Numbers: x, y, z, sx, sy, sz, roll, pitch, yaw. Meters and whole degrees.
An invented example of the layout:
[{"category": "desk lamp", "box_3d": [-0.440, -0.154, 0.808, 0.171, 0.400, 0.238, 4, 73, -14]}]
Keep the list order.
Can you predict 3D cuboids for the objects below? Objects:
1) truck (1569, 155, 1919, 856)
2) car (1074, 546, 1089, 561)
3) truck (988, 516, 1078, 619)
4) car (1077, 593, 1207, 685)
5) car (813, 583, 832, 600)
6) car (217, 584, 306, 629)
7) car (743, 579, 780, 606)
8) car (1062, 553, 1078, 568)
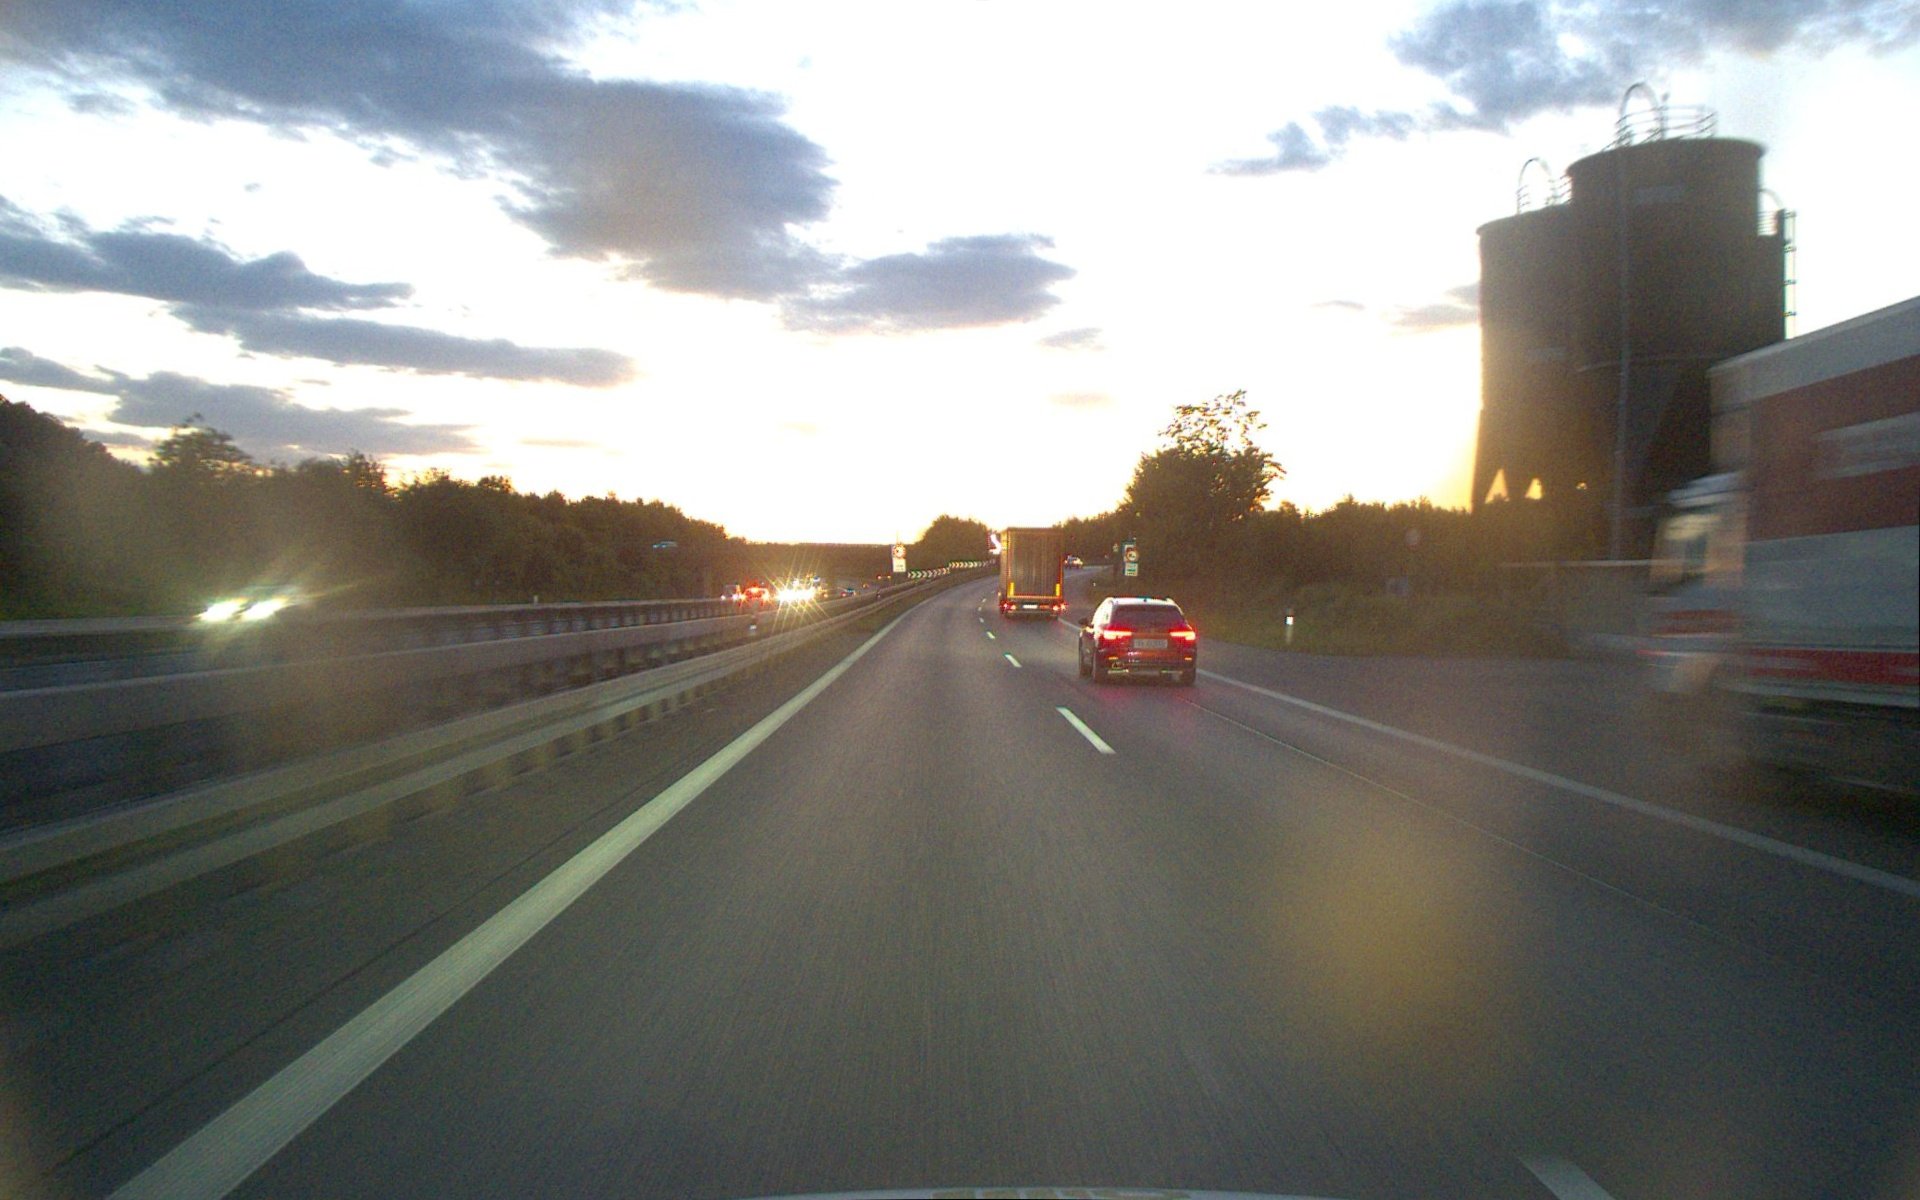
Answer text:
[{"category": "truck", "box_3d": [7.141, -0.571, 10.791, 2.854, 4.183, 9.148, 0, 0, -1]}, {"category": "car", "box_3d": [17.442, -6.704, 237.636, 1.725, 2.049, 3.517, -2, 0, -1]}, {"category": "truck", "box_3d": [3.245, -1.446, 76.821, 3.439, 4.376, 9.889, -2, 0, -1]}, {"category": "car", "box_3d": [3.166, 0.640, 29.478, 1.876, 1.467, 4.000, -2, 0, 1]}, {"category": "car", "box_3d": [-13.864, -0.887, 167.047, 1.678, 1.633, 3.721, -2, 0, -1]}, {"category": "car", "box_3d": [-24.743, 0.211, 58.721, 1.634, 1.520, 3.673, 0, 1, -1]}, {"category": "car", "box_3d": [-12.635, -0.479, 105.312, 1.834, 1.588, 4.519, -2, 0, -1]}, {"category": "car", "box_3d": [15.354, -5.519, 231.049, 1.862, 2.049, 3.860, 0, 1, -1]}]
